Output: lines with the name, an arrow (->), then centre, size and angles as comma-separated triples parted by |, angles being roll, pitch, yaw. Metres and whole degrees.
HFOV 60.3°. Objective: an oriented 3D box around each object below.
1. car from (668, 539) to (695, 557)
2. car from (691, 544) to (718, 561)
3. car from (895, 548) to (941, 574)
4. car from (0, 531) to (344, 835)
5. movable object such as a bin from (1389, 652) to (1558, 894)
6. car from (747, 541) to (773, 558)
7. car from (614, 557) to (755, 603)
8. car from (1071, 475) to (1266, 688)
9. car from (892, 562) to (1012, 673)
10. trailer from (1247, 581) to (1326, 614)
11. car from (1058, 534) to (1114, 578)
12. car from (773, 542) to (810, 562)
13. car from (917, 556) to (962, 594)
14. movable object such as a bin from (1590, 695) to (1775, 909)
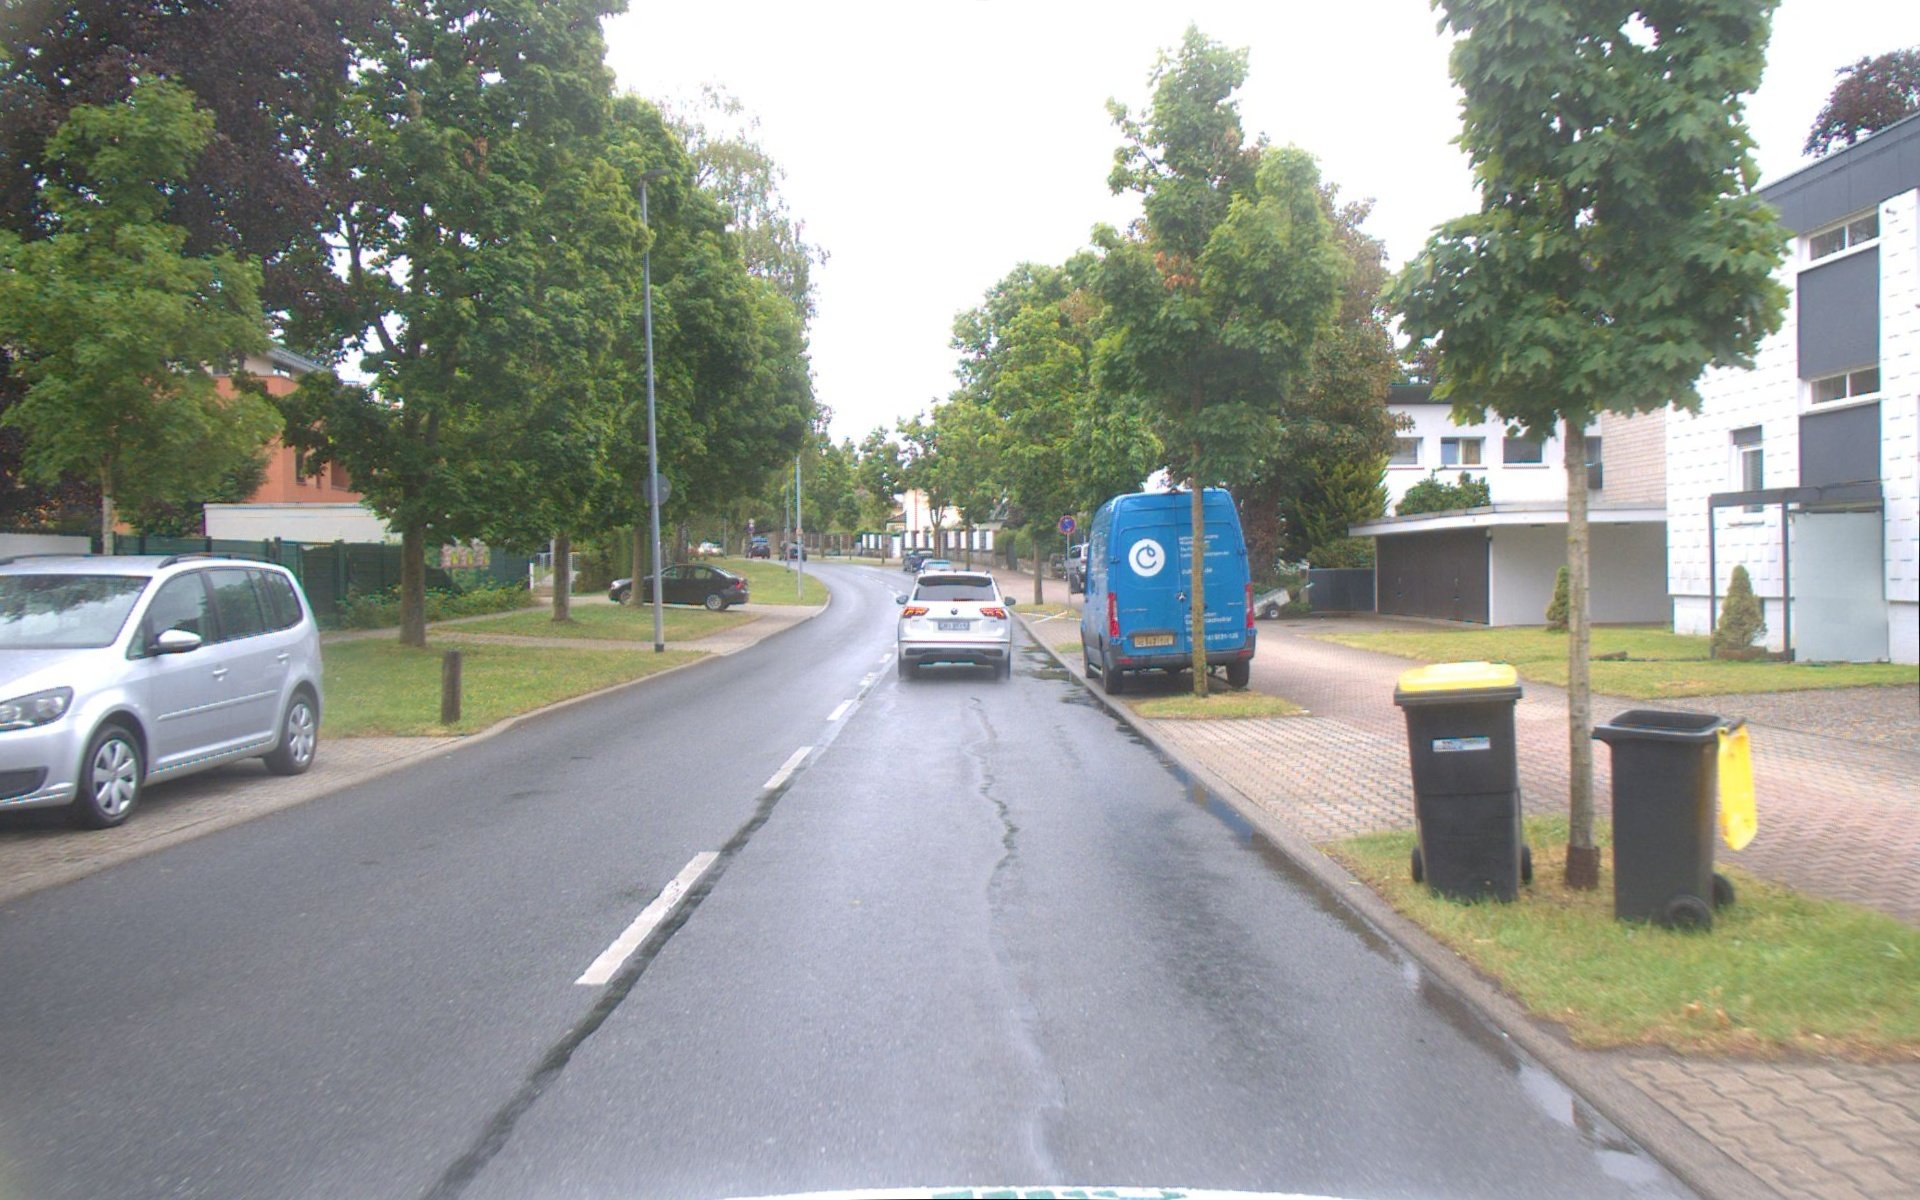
car -> -24.727, -4.618, 146.659 | 1.741, 1.452, 3.978 | 0, 2, -20
car -> -24.011, -4.468, 155.378 | 1.741, 1.452, 3.978 | 0, 2, -20
car -> -2.511, -2.328, 98.005 | 1.618, 1.452, 3.978 | 0, 2, -19
car -> -5.822, 0.421, 11.121 | 1.720, 1.656, 4.233 | 0, 1, 0
movable object such as a bin -> 2.392, 0.792, 7.689 | 0.602, 1.032, 0.562 | -5, -1, 25
car -> -17.513, -4.457, 144.703 | 1.616, 1.452, 3.982 | 0, 2, -17
car -> -8.725, -0.654, 52.554 | 4.130, 1.386, 1.691 | 1, 1, 4
car -> 2.853, -0.290, 23.926 | 1.953, 2.631, 5.633 | -3, 1, -1
car -> -0.115, 0.230, 27.228 | 1.827, 1.679, 4.000 | 0, 1, 0
trailer -> 9.235, -0.076, 46.867 | 1.999, 0.899, 1.365 | 1, 1, 2
car -> 6.018, -2.151, 79.384 | 1.790, 1.732, 3.997 | -9, 4, -5
car -> -13.130, -3.745, 128.963 | 1.622, 1.452, 3.968 | 0, 2, -26
car -> -0.926, -1.096, 72.858 | 1.734, 1.578, 3.996 | -1, 0, -5
movable object such as a bin -> 3.078, 0.848, 7.053 | 0.646, 0.814, 0.600 | -4, 0, 25
